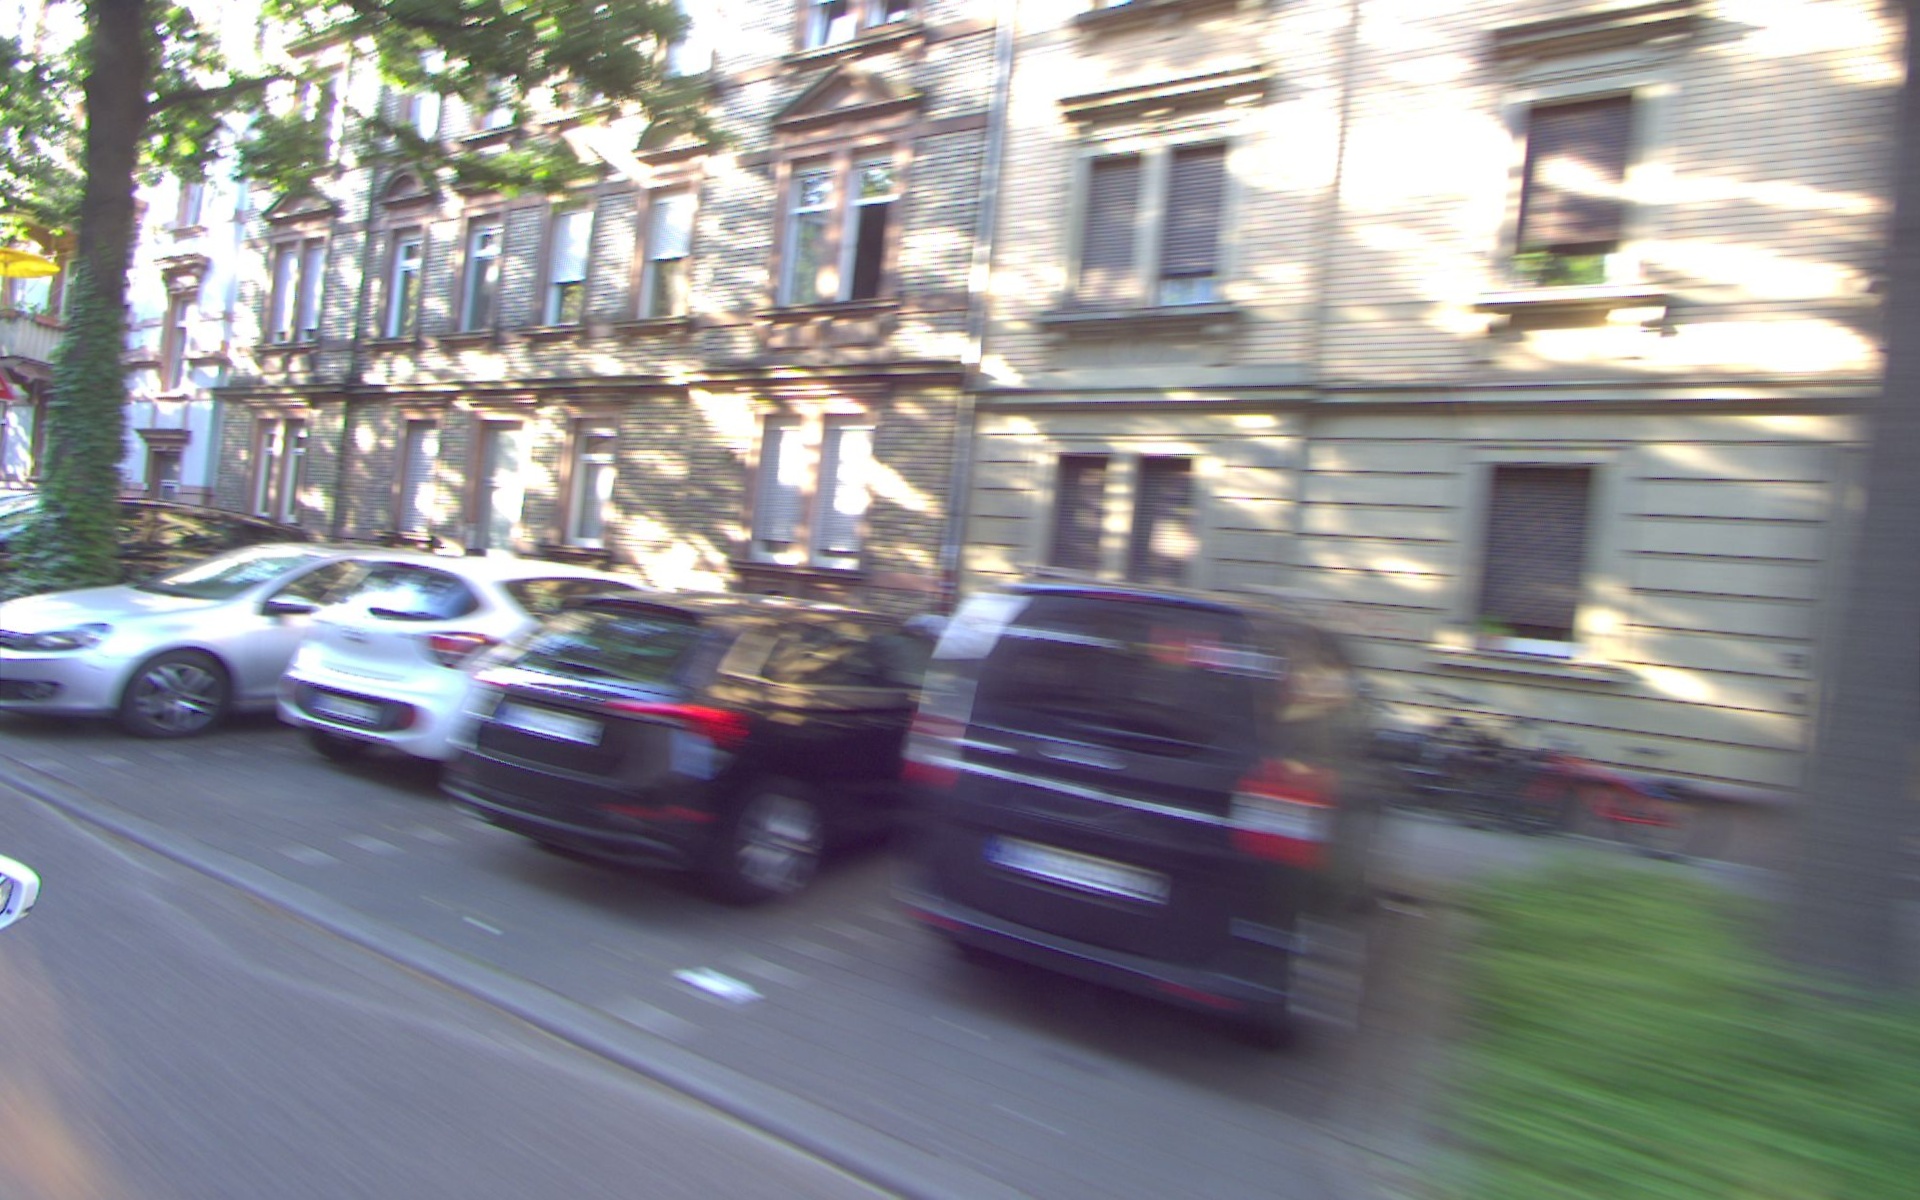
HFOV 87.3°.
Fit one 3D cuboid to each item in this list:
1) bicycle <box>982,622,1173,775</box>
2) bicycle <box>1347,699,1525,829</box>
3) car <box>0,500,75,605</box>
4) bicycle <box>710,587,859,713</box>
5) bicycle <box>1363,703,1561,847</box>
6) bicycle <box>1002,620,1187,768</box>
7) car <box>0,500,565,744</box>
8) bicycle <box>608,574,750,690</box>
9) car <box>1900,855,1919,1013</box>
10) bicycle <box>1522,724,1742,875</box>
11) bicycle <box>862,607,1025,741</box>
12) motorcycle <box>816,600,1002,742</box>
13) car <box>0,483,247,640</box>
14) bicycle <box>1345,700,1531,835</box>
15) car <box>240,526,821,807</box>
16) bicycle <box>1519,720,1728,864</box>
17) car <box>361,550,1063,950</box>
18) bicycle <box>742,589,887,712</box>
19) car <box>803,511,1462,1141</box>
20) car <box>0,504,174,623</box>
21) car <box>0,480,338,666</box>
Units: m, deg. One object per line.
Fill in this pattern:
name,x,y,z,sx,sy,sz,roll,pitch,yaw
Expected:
bicycle,1.217,1.005,10.629,1.851,1.334,0.368,6,0,28
bicycle,4.545,1.540,9.653,1.431,0.979,0.283,6,0,30
car,-16.180,-0.954,14.840,1.769,1.554,4.235,7,-2,26
bicycle,-2.205,0.599,12.553,1.851,1.334,0.375,6,0,28
bicycle,4.379,1.501,8.826,1.431,0.978,0.396,6,0,30
bicycle,1.441,0.994,10.985,1.851,1.334,0.368,6,0,28
car,-5.518,0.236,8.226,1.658,1.473,3.996,6,-2,29
bicycle,-3.801,0.423,13.548,1.851,1.334,0.535,6,-1,28
car,4.842,1.275,2.537,2.041,1.653,4.928,7,1,25
bicycle,5.646,1.652,8.538,1.431,0.978,0.396,6,0,30
bicycle,-0.222,0.855,11.948,1.851,1.334,0.368,6,0,28
motorcycle,-0.590,0.782,11.439,1.851,1.334,0.764,6,-1,28
car,-11.805,-0.547,12.382,1.859,1.675,4.488,5,-3,27
bicycle,4.404,1.515,9.311,1.431,0.978,0.396,6,0,30
car,-2.981,0.518,7.950,1.657,1.512,3.998,7,-2,26
bicycle,5.807,1.662,8.877,1.431,0.979,0.283,6,0,30
car,-1.083,0.690,6.323,1.903,1.473,4.152,7,0,28
bicycle,-1.889,0.630,12.933,1.851,1.334,0.368,6,0,28
car,1.328,0.813,5.296,1.912,1.809,4.133,7,-1,31
car,-13.888,-0.653,14.074,1.770,1.487,4.109,7,-2,30
car,-9.578,-0.296,10.799,1.860,1.675,4.485,5,-3,30
